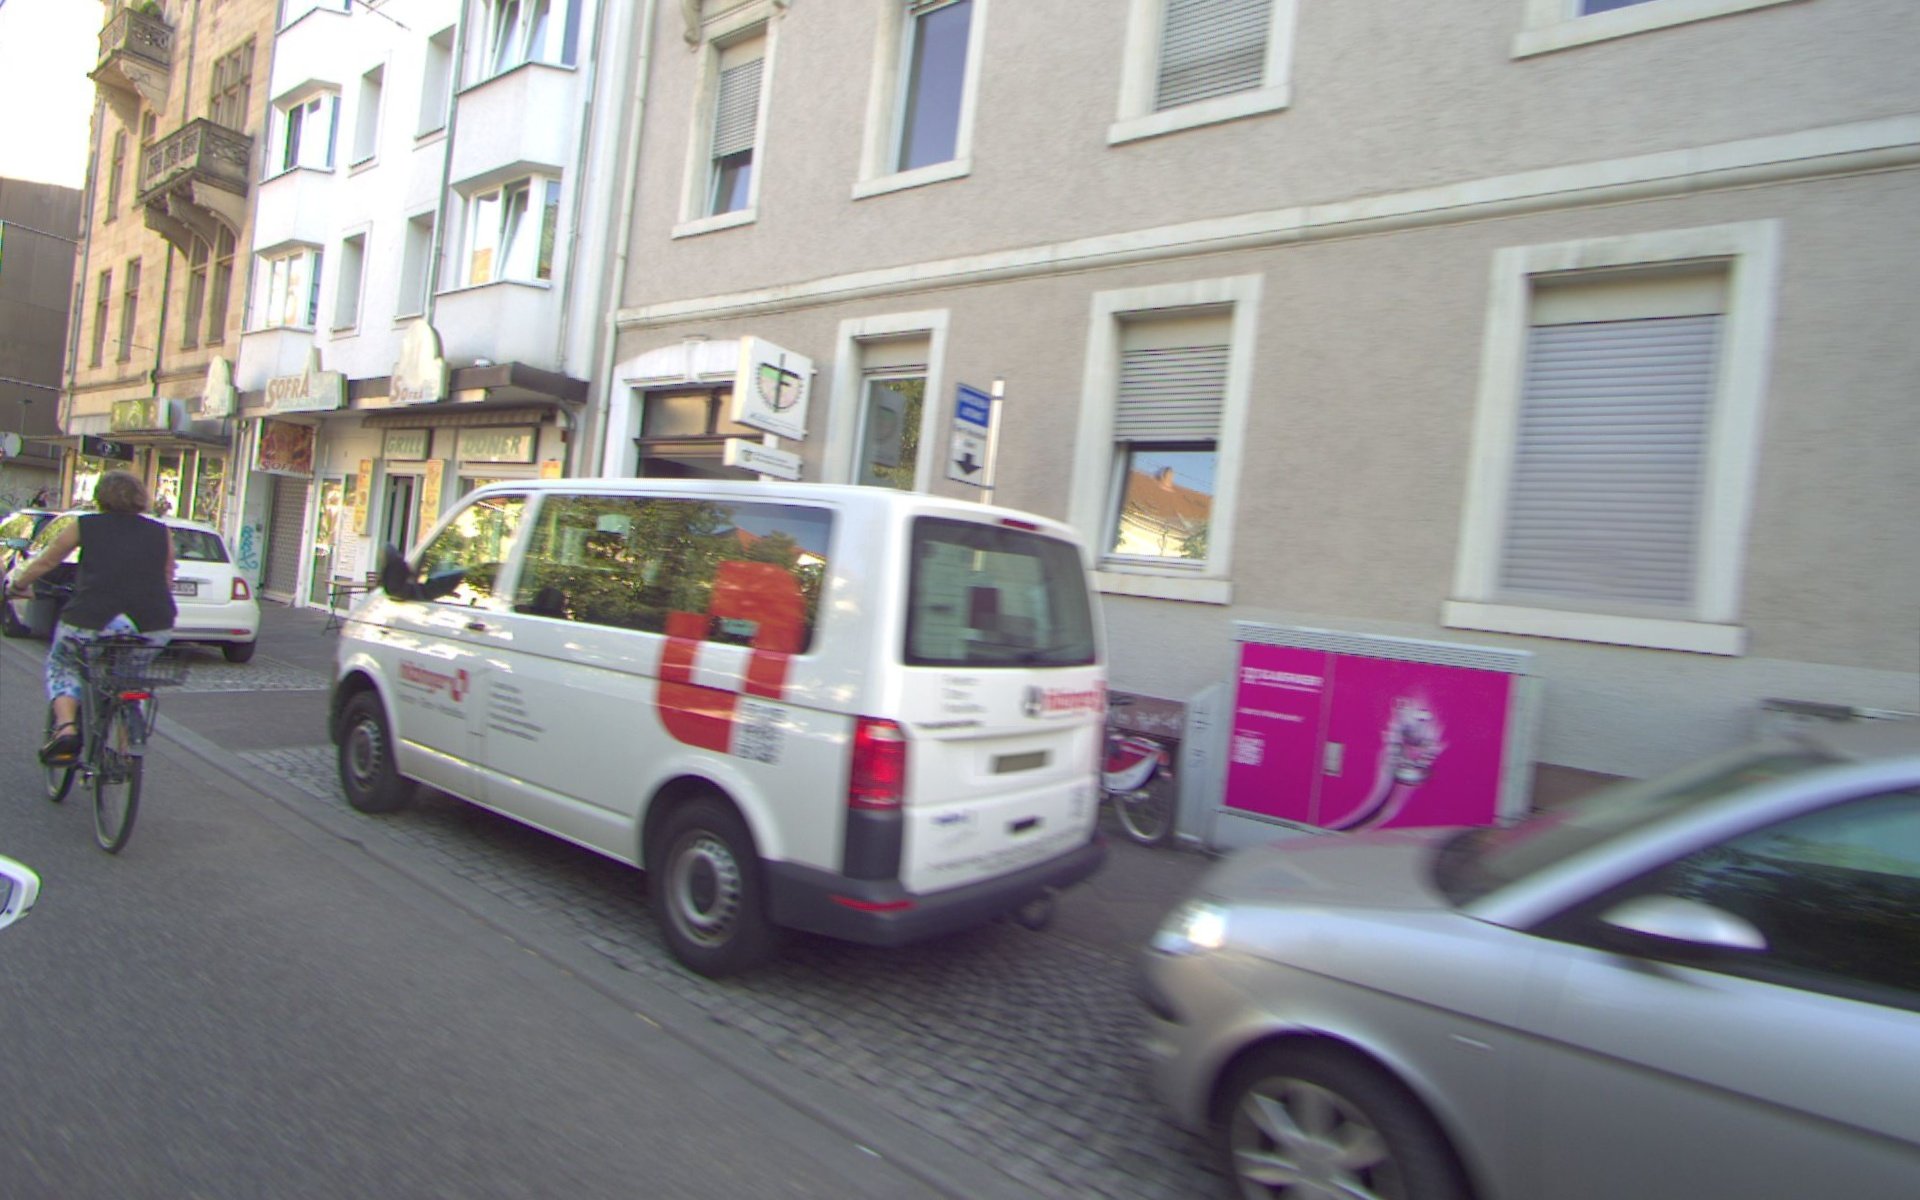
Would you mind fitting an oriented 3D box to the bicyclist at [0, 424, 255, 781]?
[{"bbox_3d":[-4.074,0.010,4.744,1.079,1.470,0.786,6,-2,36],"label":"bicyclist"}]

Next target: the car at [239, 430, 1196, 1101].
[{"bbox_3d":[-1.619,0.349,5.327,5.038,2.029,1.994,7,0,36],"label":"car"}]

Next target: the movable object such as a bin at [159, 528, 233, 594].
[{"bbox_3d":[-15.005,-0.760,19.765,0.816,1.136,0.876,6,-2,38],"label":"movable object such as a bin"}]

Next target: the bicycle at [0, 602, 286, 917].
[{"bbox_3d":[-4.102,0.606,4.721,2.657,0.969,0.653,5,-2,37],"label":"bicycle"}]

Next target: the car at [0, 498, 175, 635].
[{"bbox_3d":[-12.216,-0.497,13.534,3.729,1.464,1.678,5,-3,38],"label":"car"}]

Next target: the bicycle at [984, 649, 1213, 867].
[{"bbox_3d":[0.887,1.004,6.922,0.479,1.201,1.705,4,0,-34],"label":"bicycle"}]

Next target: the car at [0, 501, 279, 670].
[{"bbox_3d":[-9.199,-0.201,11.094,3.529,1.534,1.716,5,1,37],"label":"car"}]

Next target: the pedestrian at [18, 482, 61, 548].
[{"bbox_3d":[-27.961,-2.561,30.563,0.641,1.893,0.622,7,-1,-30],"label":"pedestrian"}]

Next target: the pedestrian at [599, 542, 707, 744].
[{"bbox_3d":[-2.609,0.335,8.575,0.451,1.631,0.747,6,6,38],"label":"pedestrian"}]

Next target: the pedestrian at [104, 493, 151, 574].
[{"bbox_3d":[-19.411,-1.547,23.469,0.673,1.811,0.607,6,1,37],"label":"pedestrian"}]

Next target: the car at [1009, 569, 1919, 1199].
[{"bbox_3d":[2.176,0.927,2.360,3.702,1.623,1.698,5,-1,39],"label":"car"}]

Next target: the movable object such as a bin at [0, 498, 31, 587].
[{"bbox_3d":[-17.155,-1.064,17.681,1.472,1.477,1.070,8,3,43],"label":"movable object such as a bin"}]
